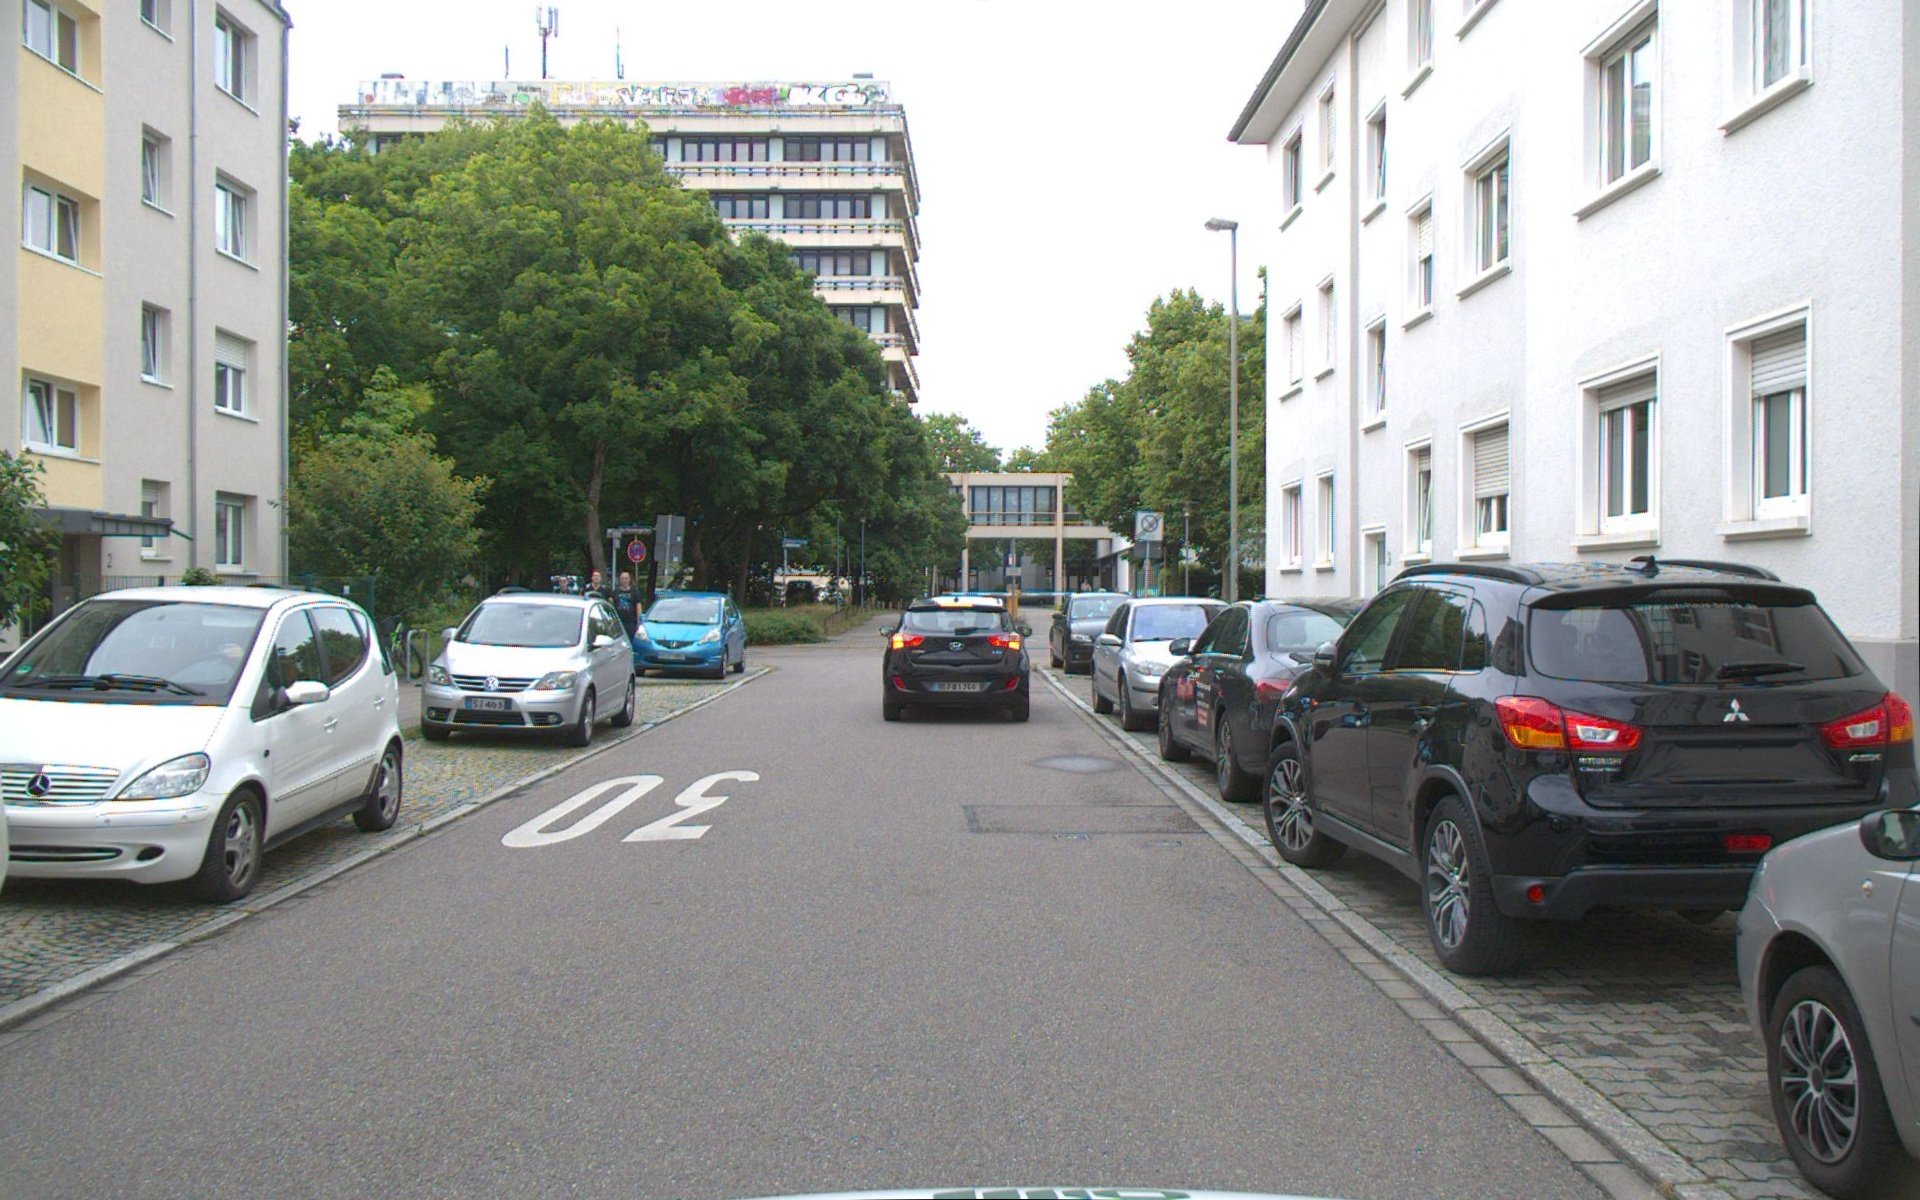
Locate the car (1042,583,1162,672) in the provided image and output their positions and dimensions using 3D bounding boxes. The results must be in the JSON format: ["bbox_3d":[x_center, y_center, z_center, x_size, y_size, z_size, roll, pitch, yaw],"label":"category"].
[{"bbox_3d":[2.607,0.459,31.374,1.783,1.546,4.672,0,0,-1],"label":"car"}]

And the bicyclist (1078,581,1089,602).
[{"bbox_3d":[8.411,-0.573,112.741,0.679,1.469,0.795,1,0,1],"label":"bicyclist"}]

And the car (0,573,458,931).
[{"bbox_3d":[-4.643,0.699,10.051,1.857,1.626,4.519,3,0,-2],"label":"car"}]

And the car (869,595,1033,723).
[{"bbox_3d":[-0.106,0.668,20.949,1.864,1.458,4.232,0,0,0],"label":"car"}]

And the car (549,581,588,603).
[{"bbox_3d":[-24.304,-0.505,102.727,1.632,1.356,3.395,1,1,-1],"label":"car"}]

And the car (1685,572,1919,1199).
[{"bbox_3d":[3.018,0.706,2.821,1.783,1.529,4.091,0,0,0],"label":"car"}]

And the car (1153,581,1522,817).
[{"bbox_3d":[2.756,0.642,13.188,1.783,1.546,4.672,0,0,-1],"label":"car"}]

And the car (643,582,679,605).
[{"bbox_3d":[-18.496,-0.398,102.469,1.632,1.356,3.395,1,1,-1],"label":"car"}]

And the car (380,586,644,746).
[{"bbox_3d":[-4.866,0.659,18.572,1.953,1.568,3.998,1,0,-2],"label":"car"}]

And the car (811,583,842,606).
[{"bbox_3d":[-8.255,-0.354,102.493,1.632,1.356,3.395,1,1,-1],"label":"car"}]

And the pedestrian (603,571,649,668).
[{"bbox_3d":[-6.474,0.373,32.123,0.699,1.863,0.797,1,0,1],"label":"pedestrian"}]

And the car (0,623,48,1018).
[{"bbox_3d":[-4.417,0.799,4.150,1.857,1.477,4.518,3,0,-3],"label":"car"}]

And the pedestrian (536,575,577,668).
[{"bbox_3d":[-7.701,0.404,31.571,0.588,1.743,0.648,1,0,1],"label":"pedestrian"}]

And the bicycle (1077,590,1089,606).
[{"bbox_3d":[8.398,-0.143,112.734,0.679,1.014,1.735,1,0,0],"label":"bicycle"}]

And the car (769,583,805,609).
[{"bbox_3d":[-9.305,-0.251,89.042,1.632,1.356,3.395,1,1,-1],"label":"car"}]

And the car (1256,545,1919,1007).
[{"bbox_3d":[2.737,0.615,7.916,1.783,1.631,4.089,0,0,-2],"label":"car"}]

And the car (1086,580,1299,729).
[{"bbox_3d":[2.606,0.556,19.599,1.783,1.546,4.672,0,0,-1],"label":"car"}]

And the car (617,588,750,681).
[{"bbox_3d":[-5.072,0.588,30.820,1.954,1.568,3.998,1,0,-3],"label":"car"}]

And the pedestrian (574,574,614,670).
[{"bbox_3d":[-7.147,0.420,32.334,0.592,1.863,0.675,1,0,1],"label":"pedestrian"}]
